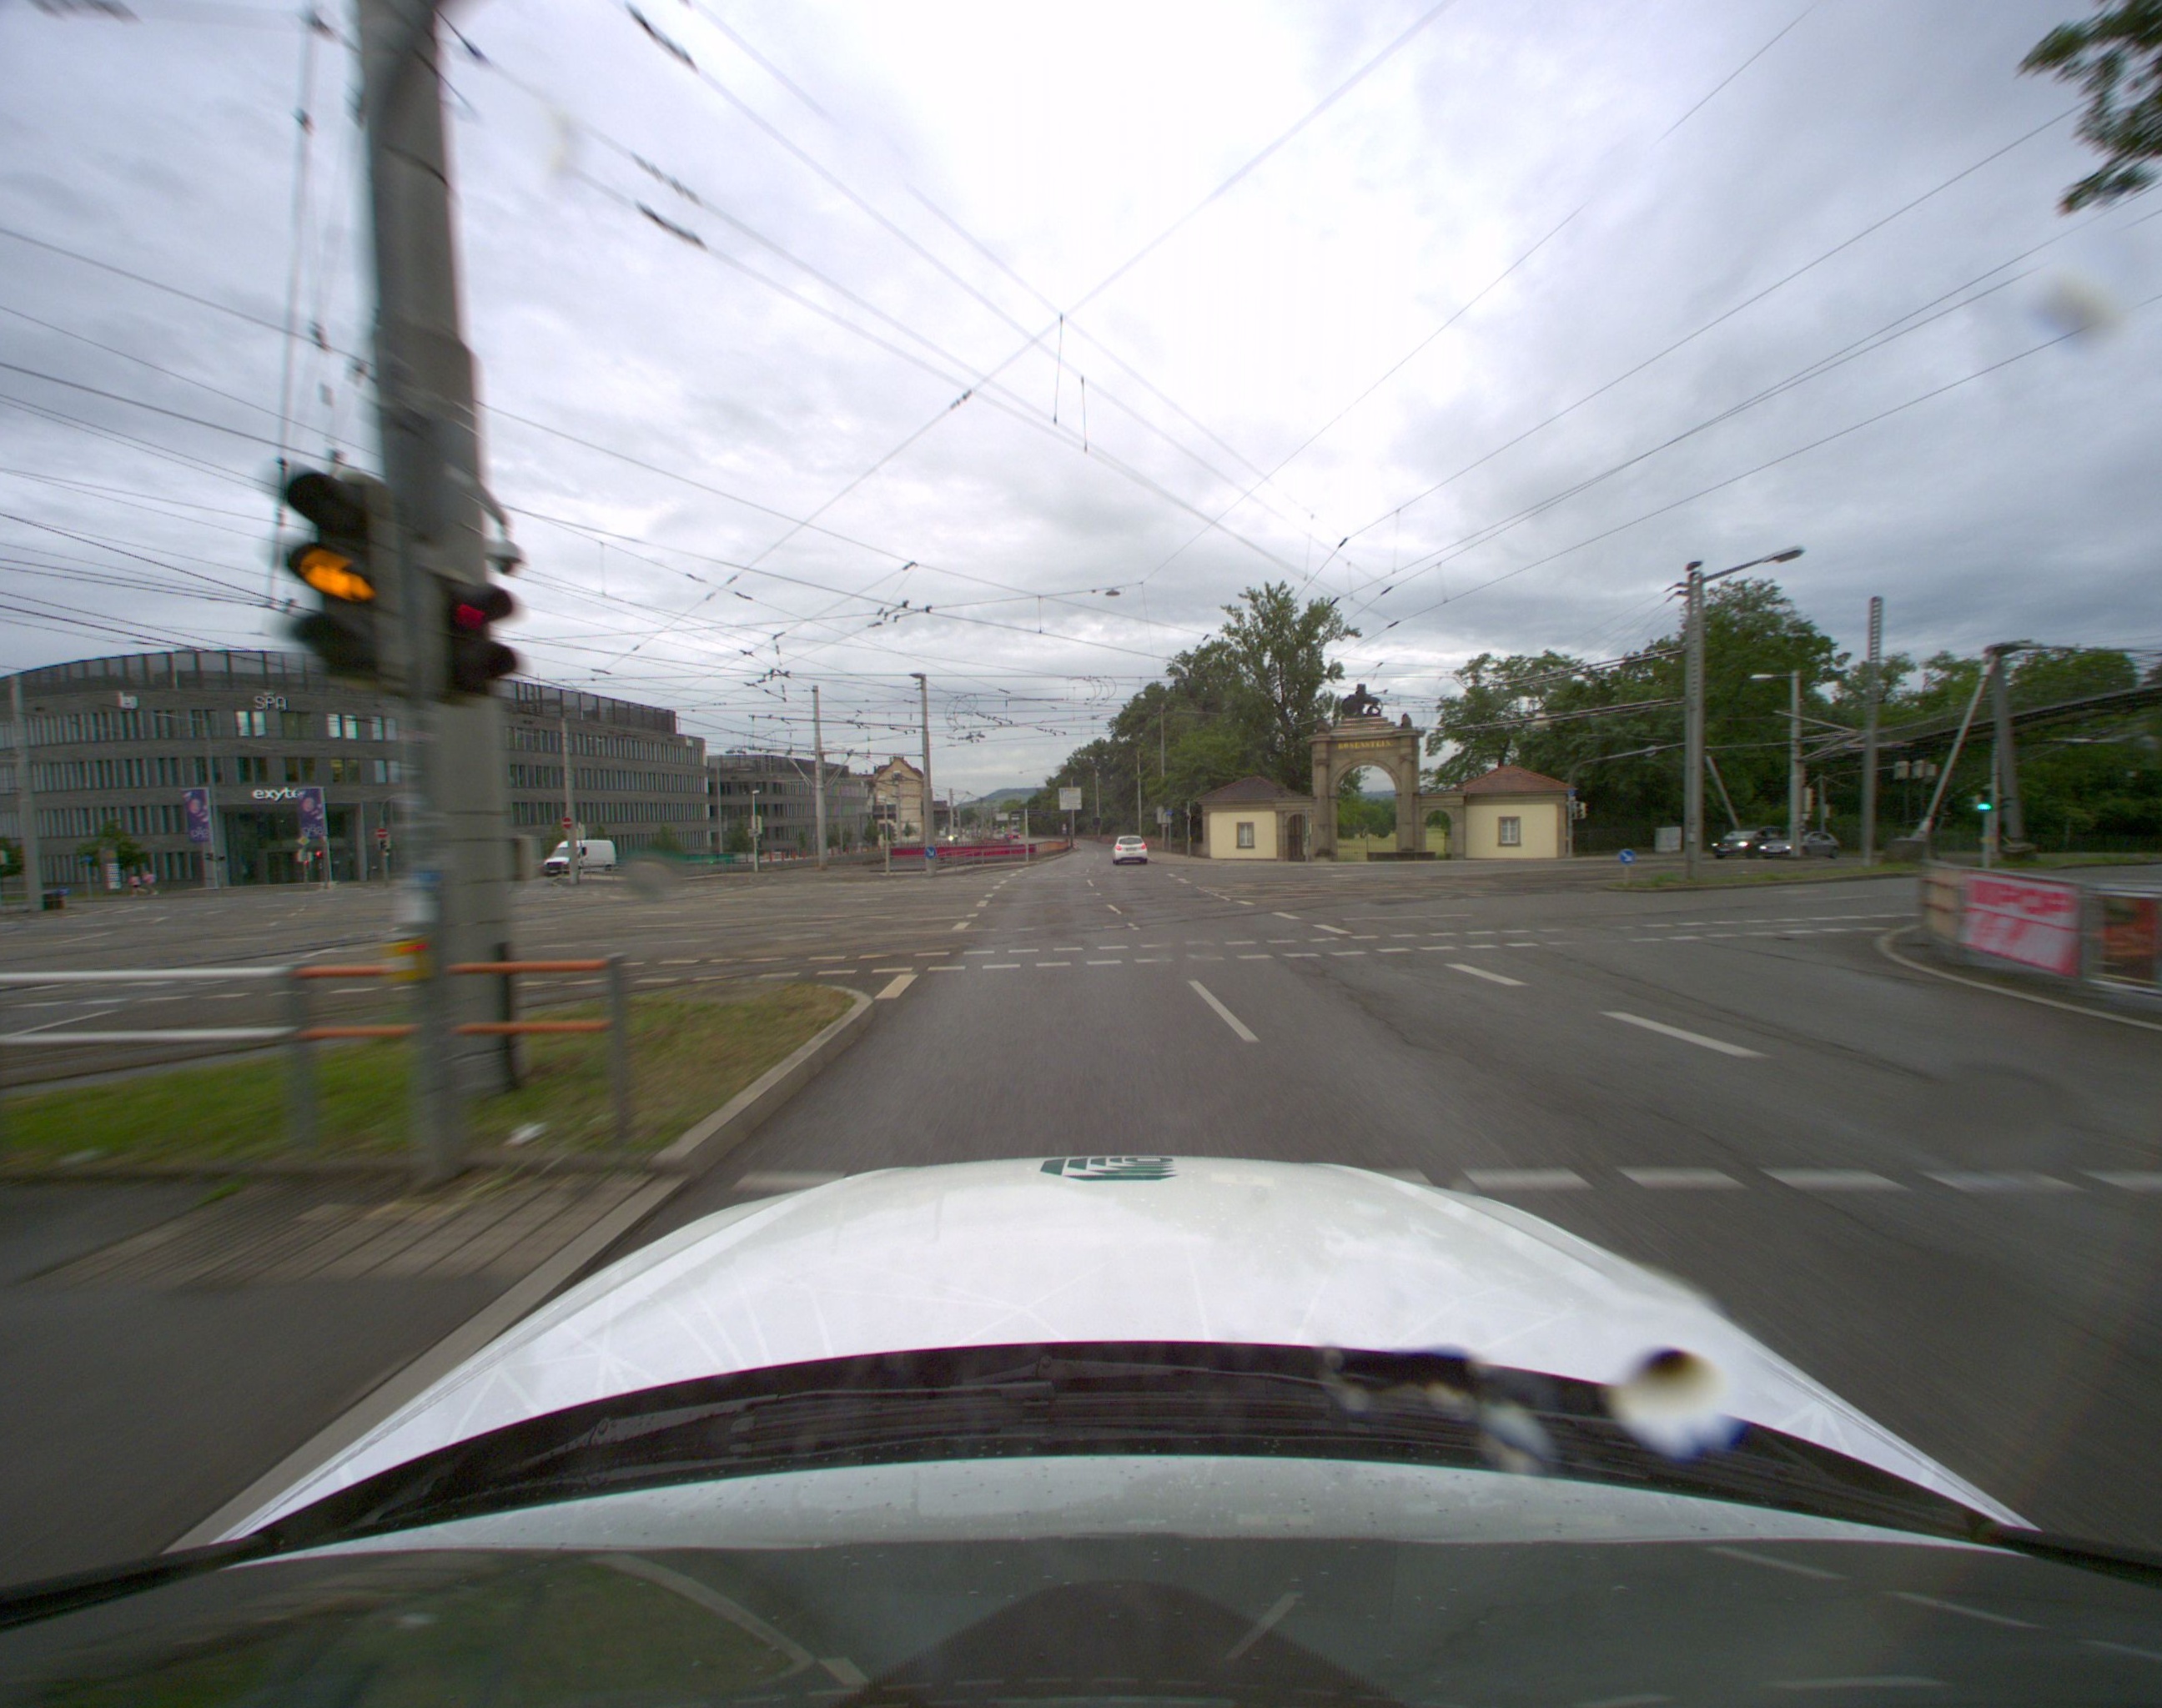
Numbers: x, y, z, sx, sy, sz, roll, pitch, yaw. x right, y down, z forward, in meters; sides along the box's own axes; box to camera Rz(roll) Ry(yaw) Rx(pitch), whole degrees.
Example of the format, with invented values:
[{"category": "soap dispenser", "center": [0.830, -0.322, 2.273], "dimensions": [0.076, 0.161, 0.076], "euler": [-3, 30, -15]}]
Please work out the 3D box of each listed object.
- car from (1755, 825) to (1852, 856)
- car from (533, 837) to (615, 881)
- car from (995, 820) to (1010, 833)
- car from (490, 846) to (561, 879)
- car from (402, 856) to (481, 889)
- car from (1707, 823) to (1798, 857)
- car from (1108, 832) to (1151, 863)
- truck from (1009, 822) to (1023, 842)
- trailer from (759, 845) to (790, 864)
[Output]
[{"category": "car", "center": [37.686, -0.718, 42.503], "dimensions": [4.262, 1.455, 1.986], "euler": [-1, -1, -20]}, {"category": "car", "center": [-35.833, 0.306, 57.806], "dimensions": [1.987, 2.831, 5.719], "euler": [-4, 1, 1]}, {"category": "car", "center": [-11.849, -4.112, 122.484], "dimensions": [1.993, 1.872, 3.989], "euler": [-3, 1, -8]}, {"category": "car", "center": [-39.308, 0.630, 57.731], "dimensions": [1.987, 2.153, 4.247], "euler": [-3, -1, 1]}, {"category": "car", "center": [-44.322, 1.285, 56.549], "dimensions": [1.987, 2.153, 4.247], "euler": [-3, -1, 1]}, {"category": "car", "center": [37.230, -0.792, 45.168], "dimensions": [4.262, 1.734, 1.986], "euler": [-1, -1, -20]}, {"category": "car", "center": [2.529, -0.292, 43.440], "dimensions": [1.950, 1.488, 3.998], "euler": [-2, -1, -1]}, {"category": "truck", "center": [-19.156, -6.413, 240.340], "dimensions": [3.461, 5.401, 12.022], "euler": [-2, -1, -7]}, {"category": "trailer", "center": [-35.223, 0.073, 93.686], "dimensions": [1.819, 2.074, 4.273], "euler": [-2, -1, 0]}]
